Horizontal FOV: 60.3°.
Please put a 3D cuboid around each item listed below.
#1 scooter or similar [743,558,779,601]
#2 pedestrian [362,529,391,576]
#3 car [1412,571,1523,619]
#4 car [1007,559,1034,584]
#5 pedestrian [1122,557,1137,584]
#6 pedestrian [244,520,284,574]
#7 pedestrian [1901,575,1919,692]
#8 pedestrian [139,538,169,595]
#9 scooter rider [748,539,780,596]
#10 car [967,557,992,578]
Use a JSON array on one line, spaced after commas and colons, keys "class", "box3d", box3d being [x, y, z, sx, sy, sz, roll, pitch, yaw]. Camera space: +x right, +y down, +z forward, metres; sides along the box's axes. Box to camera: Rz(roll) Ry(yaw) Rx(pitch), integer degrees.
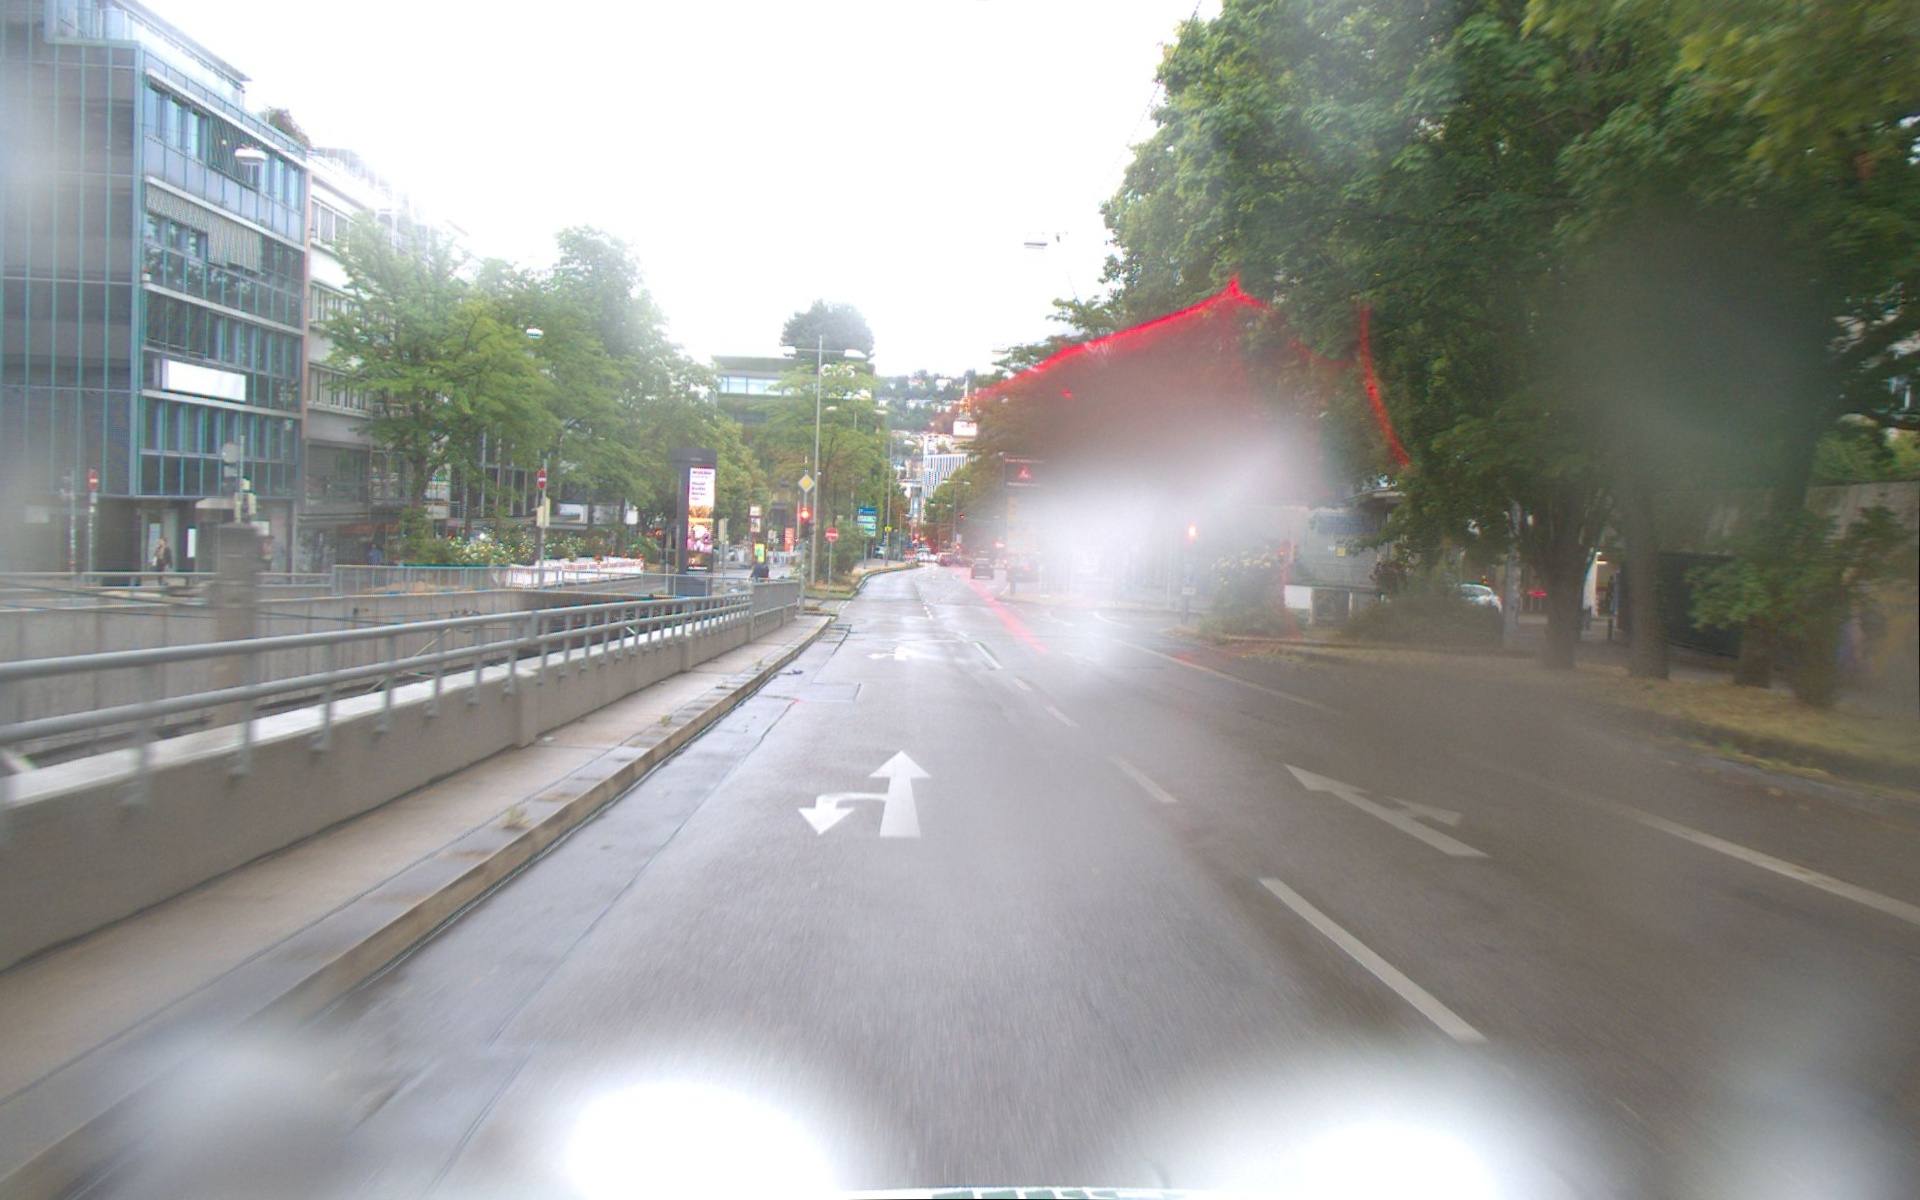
[{"class": "scooter or similar", "box3d": [-7.122, -0.737, 59.122, 0.540, 1.443, 1.937, 2, 1, -29]}, {"class": "pedestrian", "box3d": [-24.741, -2.016, 70.151, 0.860, 1.900, 0.866, 3, 1, -4]}, {"class": "car", "box3d": [20.638, -0.206, 67.215, 4.292, 1.713, 1.736, 2, 1, -28]}, {"class": "car", "box3d": [4.389, -2.087, 120.558, 1.862, 1.713, 3.912, 3, 1, 2]}, {"class": "pedestrian", "box3d": [10.279, -1.807, 100.067, 0.770, 1.584, 0.533, 3, 1, 0]}, {"class": "pedestrian", "box3d": [-25.388, -1.943, 60.339, 0.846, 1.900, 0.960, 3, 1, 16]}, {"class": "pedestrian", "box3d": [16.000, 0.541, 26.951, 0.790, 1.897, 1.057, 1, 1, 7]}, {"class": "pedestrian", "box3d": [-24.514, -1.007, 50.312, 0.651, 1.700, 0.487, 2, 1, -3]}, {"class": "scooter rider", "box3d": [-6.991, -1.156, 59.023, 0.800, 1.981, 0.814, 2, 1, -30]}, {"class": "car", "box3d": [1.494, -2.498, 127.758, 1.711, 1.545, 4.105, 3, 1, -2]}]
